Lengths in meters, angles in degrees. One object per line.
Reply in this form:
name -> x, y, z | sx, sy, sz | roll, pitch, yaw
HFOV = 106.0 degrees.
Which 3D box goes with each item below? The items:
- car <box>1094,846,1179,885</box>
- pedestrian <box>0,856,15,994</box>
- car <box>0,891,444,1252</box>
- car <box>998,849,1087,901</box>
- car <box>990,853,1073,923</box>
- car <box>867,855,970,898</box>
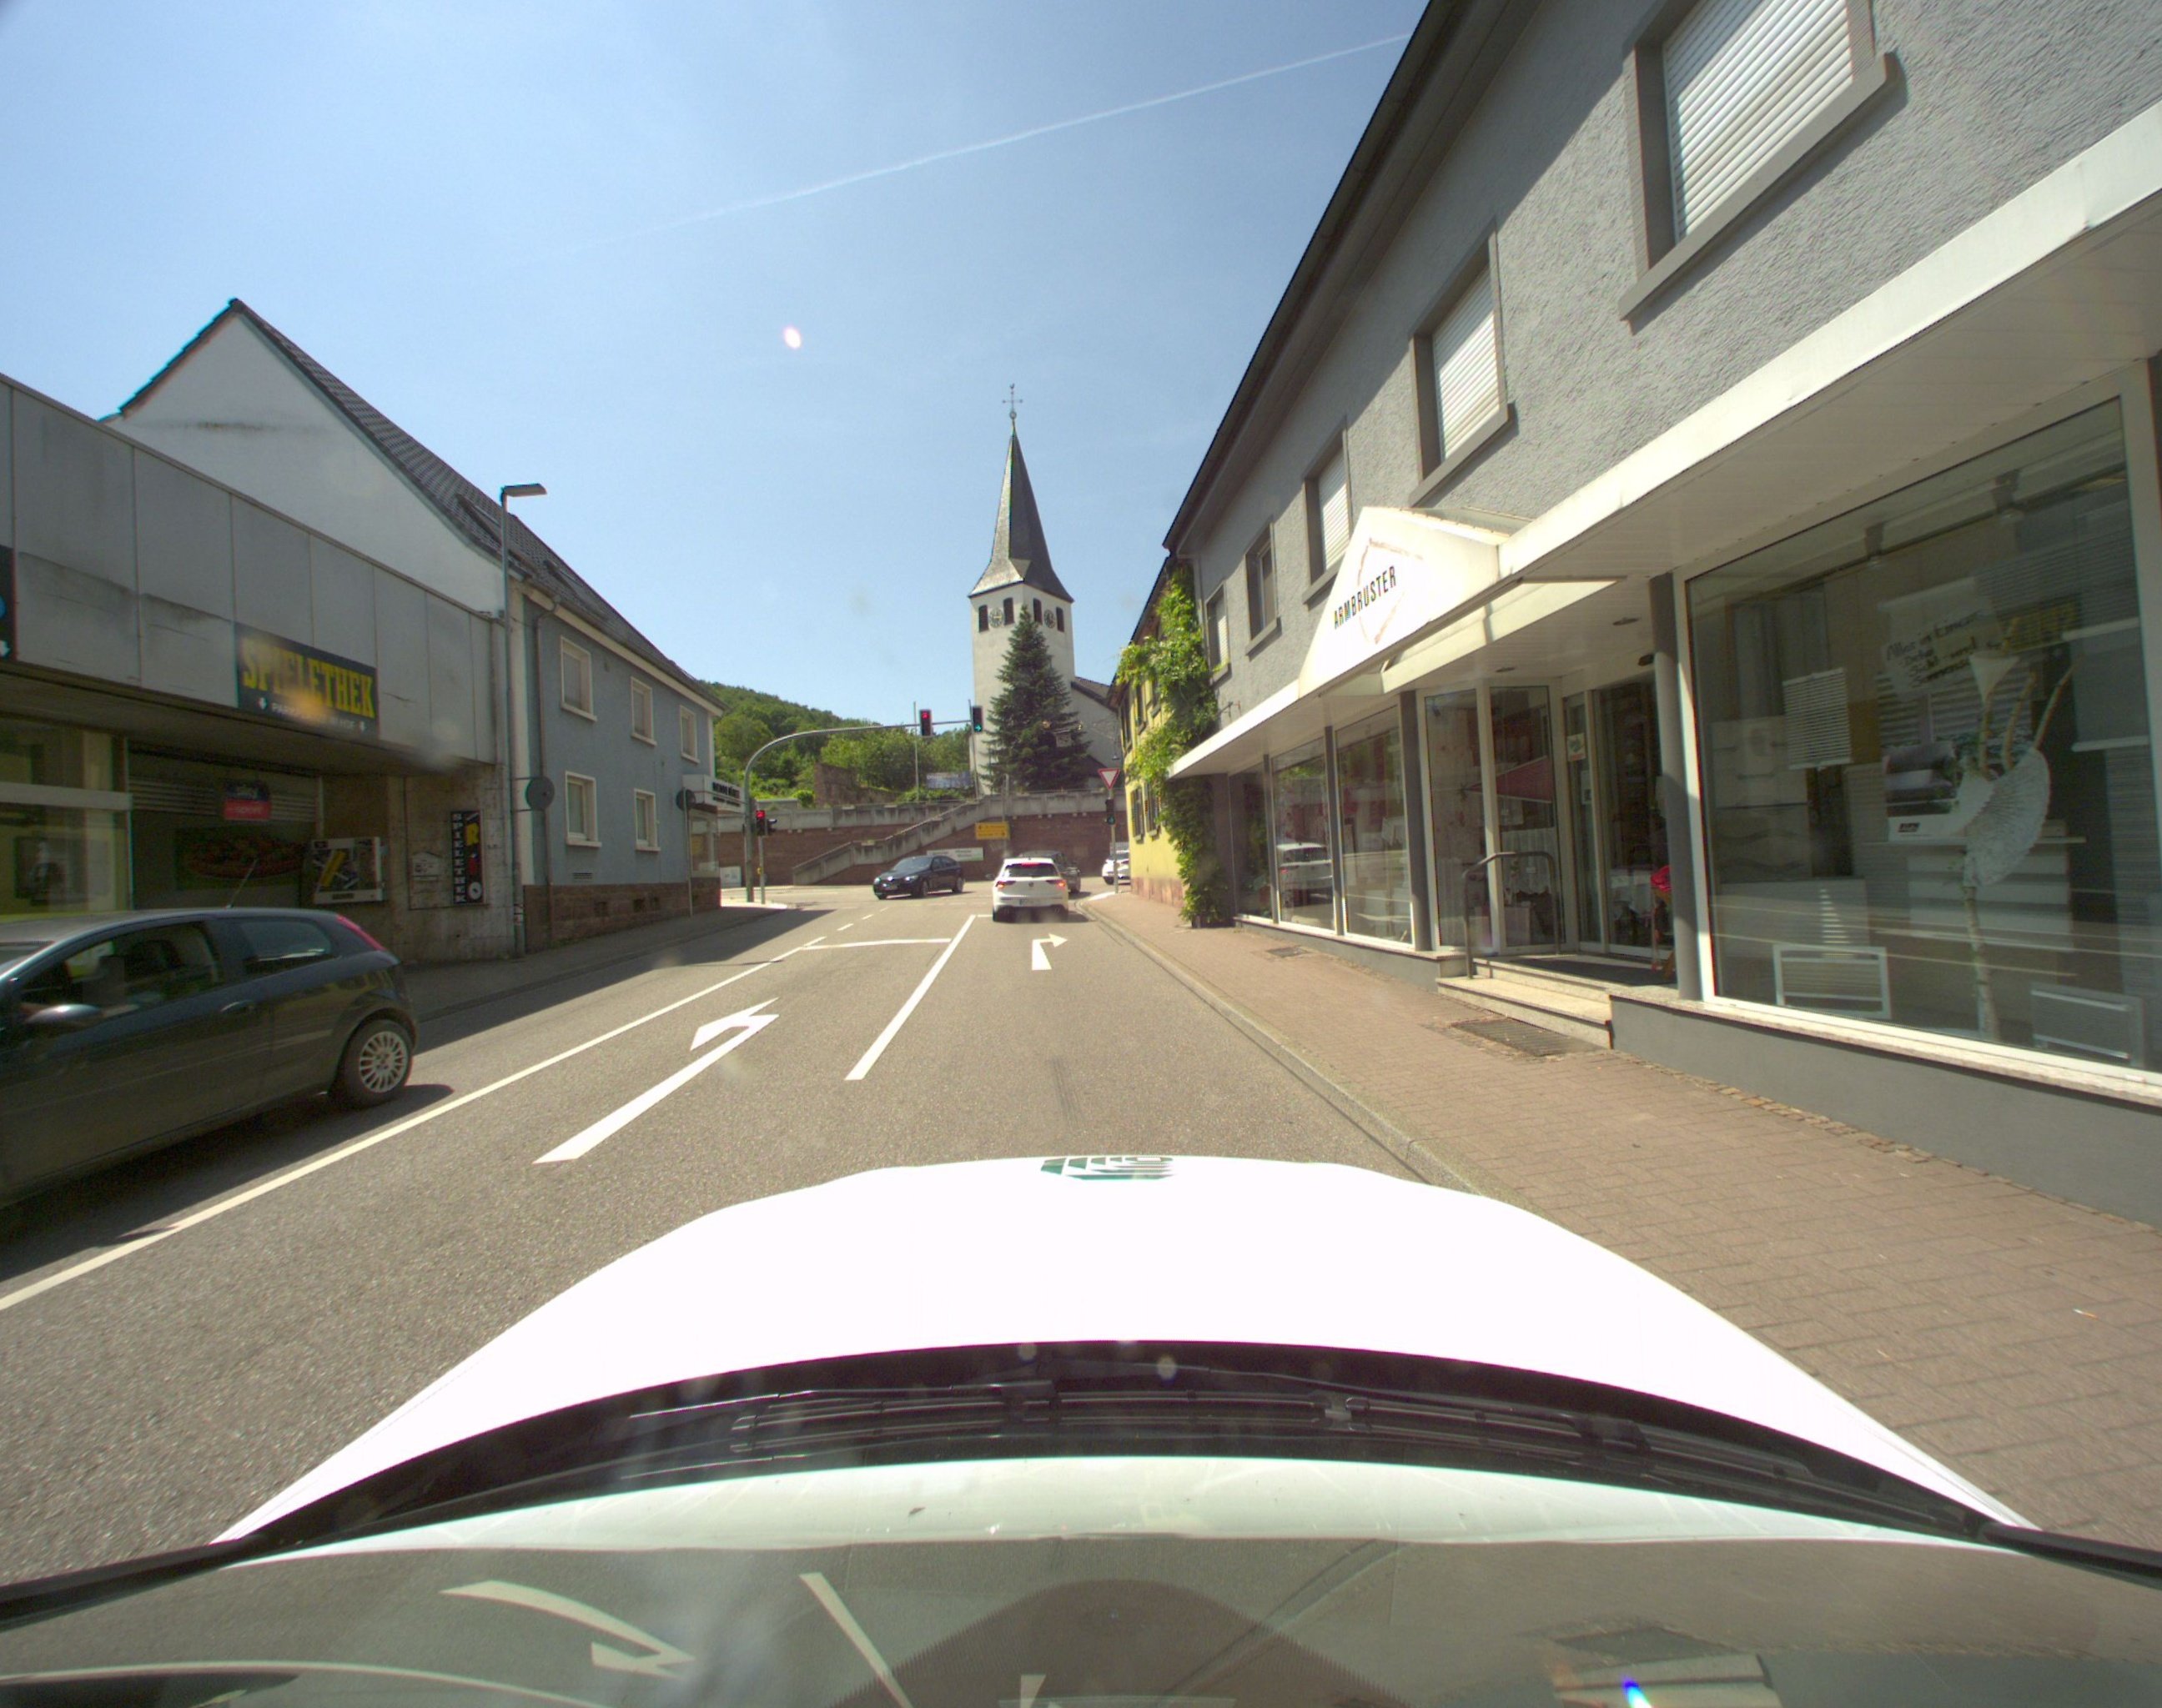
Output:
car -> 2.506, 0.476, 35.931 | 1.753, 1.496, 4.013 | -1, 2, 38
pedestrian -> -14.710, 0.956, 10.572 | 0.740, 1.828, 0.693 | -2, 0, -5
car -> -5.654, 1.076, 4.247 | 1.714, 1.422, 3.815 | -4, 1, -4
car -> -1.273, 0.689, 29.012 | 1.935, 1.582, 4.343 | -2, 1, 14
car -> -1.227, 0.769, 19.971 | 1.779, 1.458, 3.857 | -3, 0, -4
car -> -6.118, 0.804, 31.392 | 1.783, 1.487, 4.818 | -1, 0, 17
